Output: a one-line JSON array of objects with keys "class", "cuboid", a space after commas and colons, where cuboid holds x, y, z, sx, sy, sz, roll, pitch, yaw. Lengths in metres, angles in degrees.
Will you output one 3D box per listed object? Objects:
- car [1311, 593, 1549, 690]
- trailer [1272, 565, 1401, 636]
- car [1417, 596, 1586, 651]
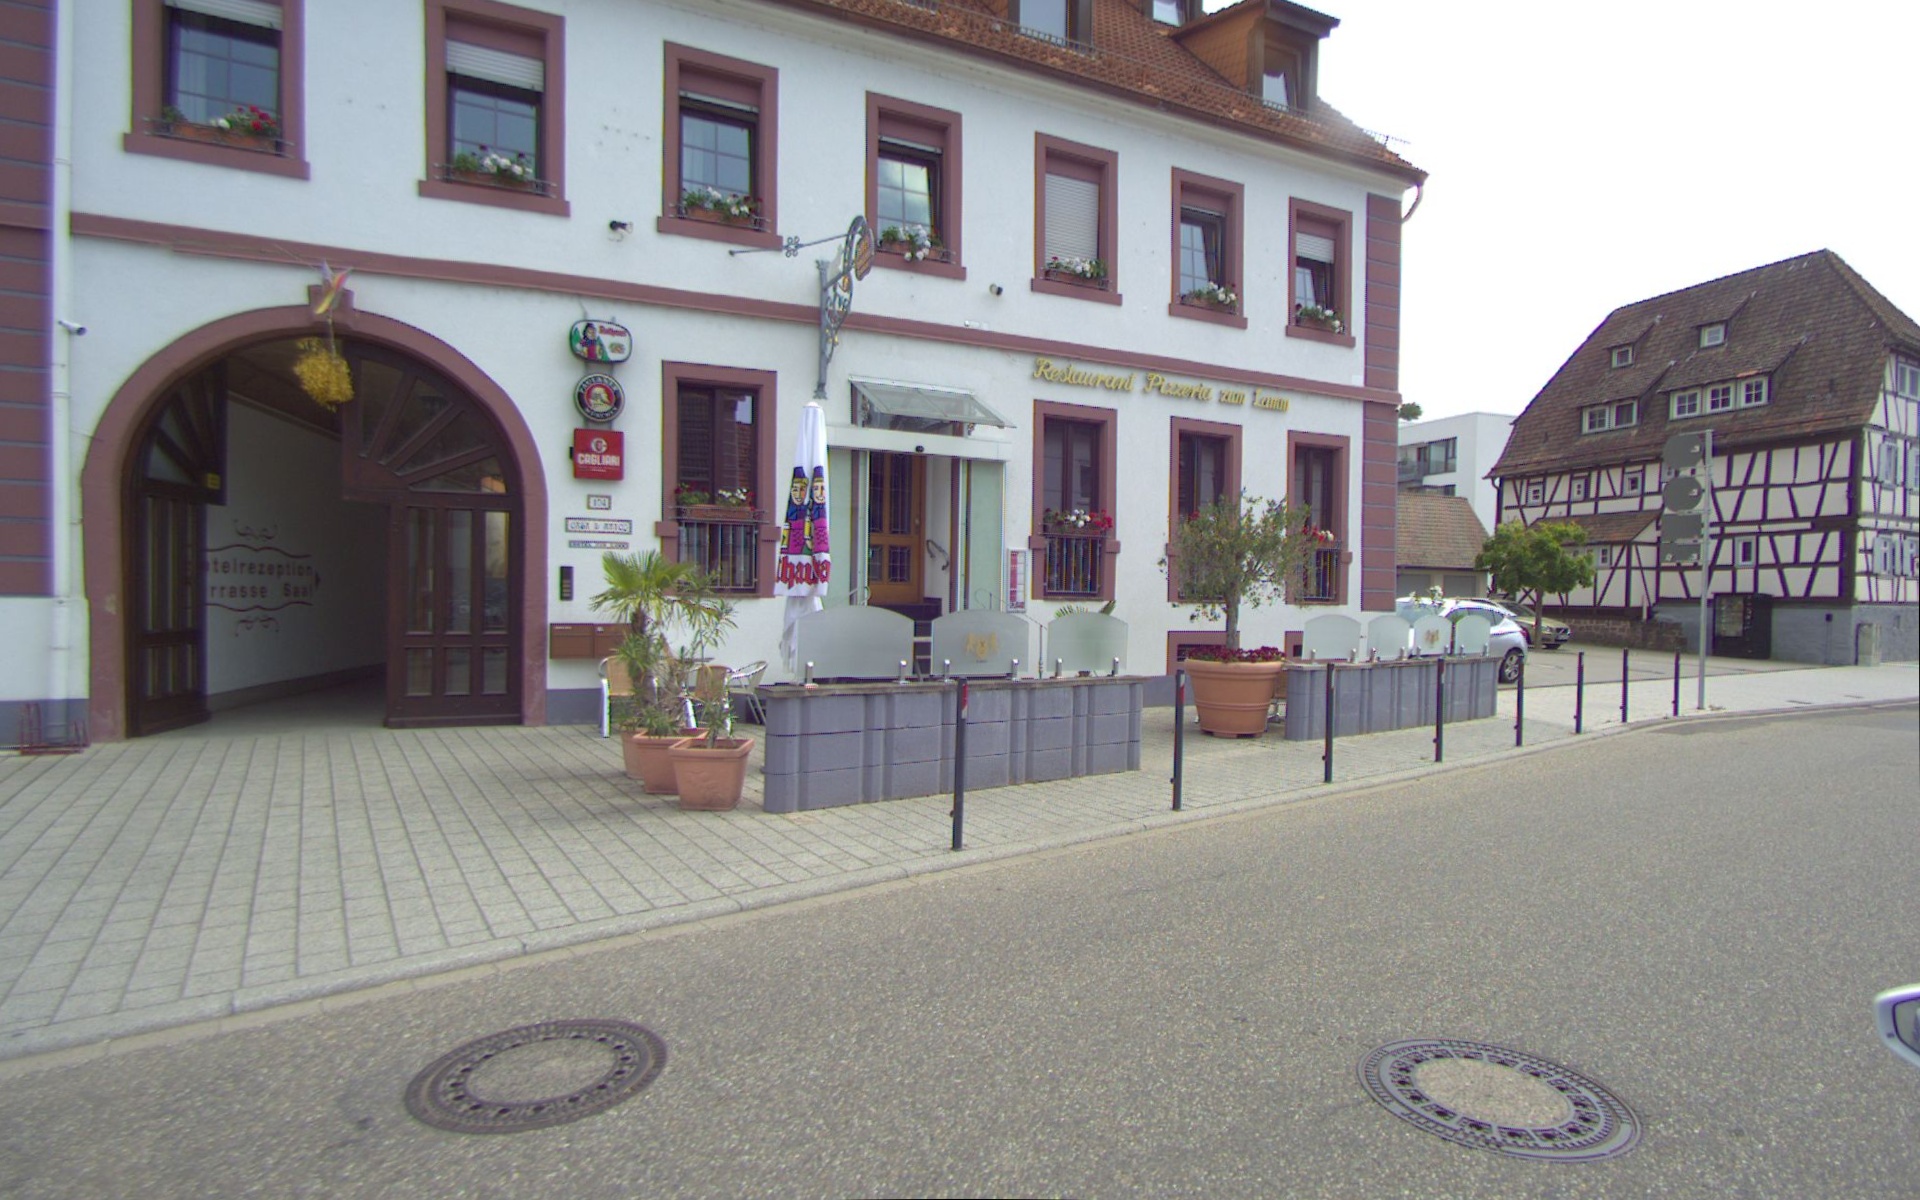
[{"class": "car", "cuboid": [8.664, 0.717, 18.472, 4.223, 1.513, 1.750, 1, 4, -29]}, {"class": "trailer", "cuboid": [14.216, -0.034, 38.220, 1.938, 2.458, 4.412, 2, 2, -25]}, {"class": "car", "cuboid": [17.111, 0.684, 31.982, 1.938, 1.408, 4.410, 1, 3, -26]}]
